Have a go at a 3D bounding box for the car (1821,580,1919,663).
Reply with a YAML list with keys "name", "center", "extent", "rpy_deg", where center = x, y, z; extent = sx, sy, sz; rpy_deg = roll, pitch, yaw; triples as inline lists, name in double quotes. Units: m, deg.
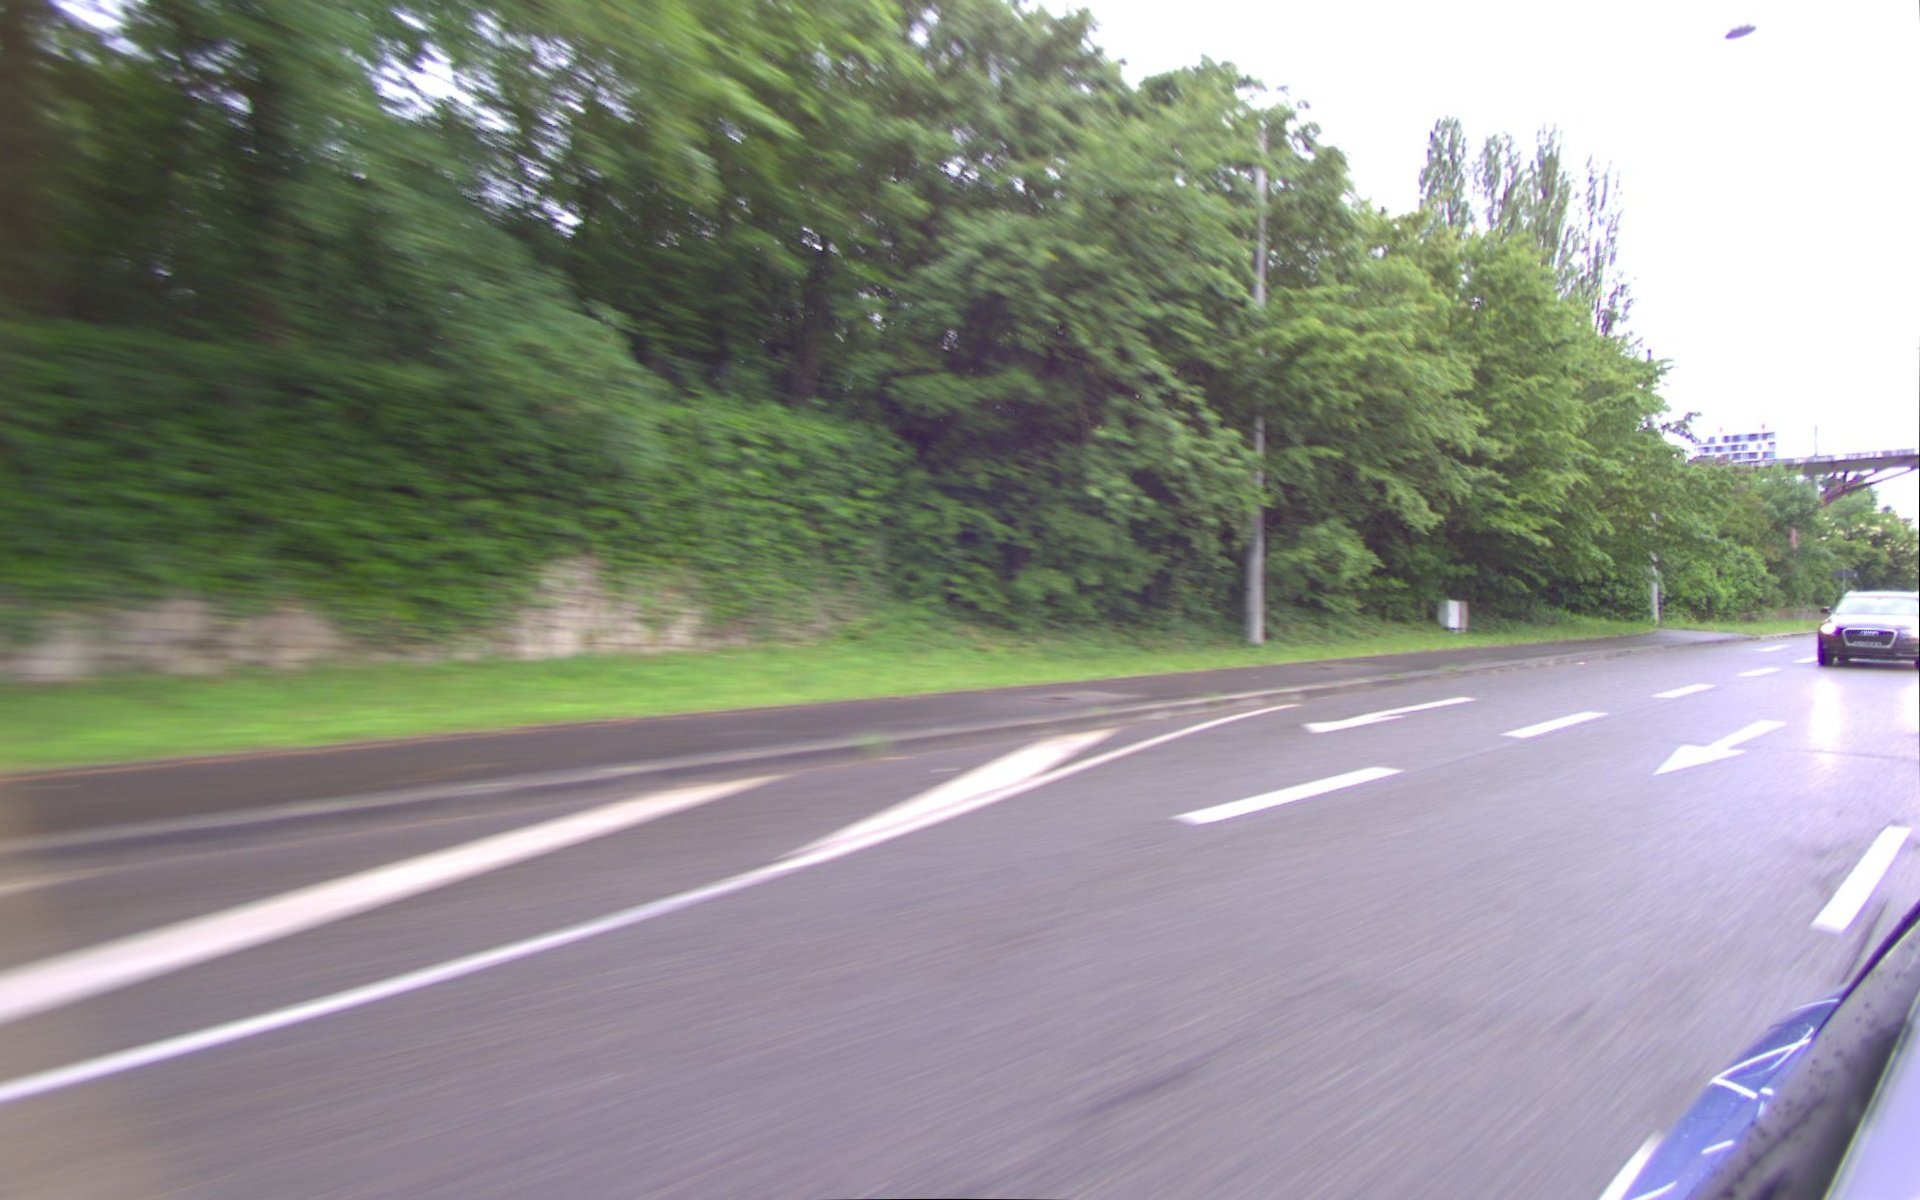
- name: "car"
  center: [20.150, 0.409, 21.813]
  extent: [4.207, 1.621, 1.925]
  rpy_deg: [0, 1, -43]
